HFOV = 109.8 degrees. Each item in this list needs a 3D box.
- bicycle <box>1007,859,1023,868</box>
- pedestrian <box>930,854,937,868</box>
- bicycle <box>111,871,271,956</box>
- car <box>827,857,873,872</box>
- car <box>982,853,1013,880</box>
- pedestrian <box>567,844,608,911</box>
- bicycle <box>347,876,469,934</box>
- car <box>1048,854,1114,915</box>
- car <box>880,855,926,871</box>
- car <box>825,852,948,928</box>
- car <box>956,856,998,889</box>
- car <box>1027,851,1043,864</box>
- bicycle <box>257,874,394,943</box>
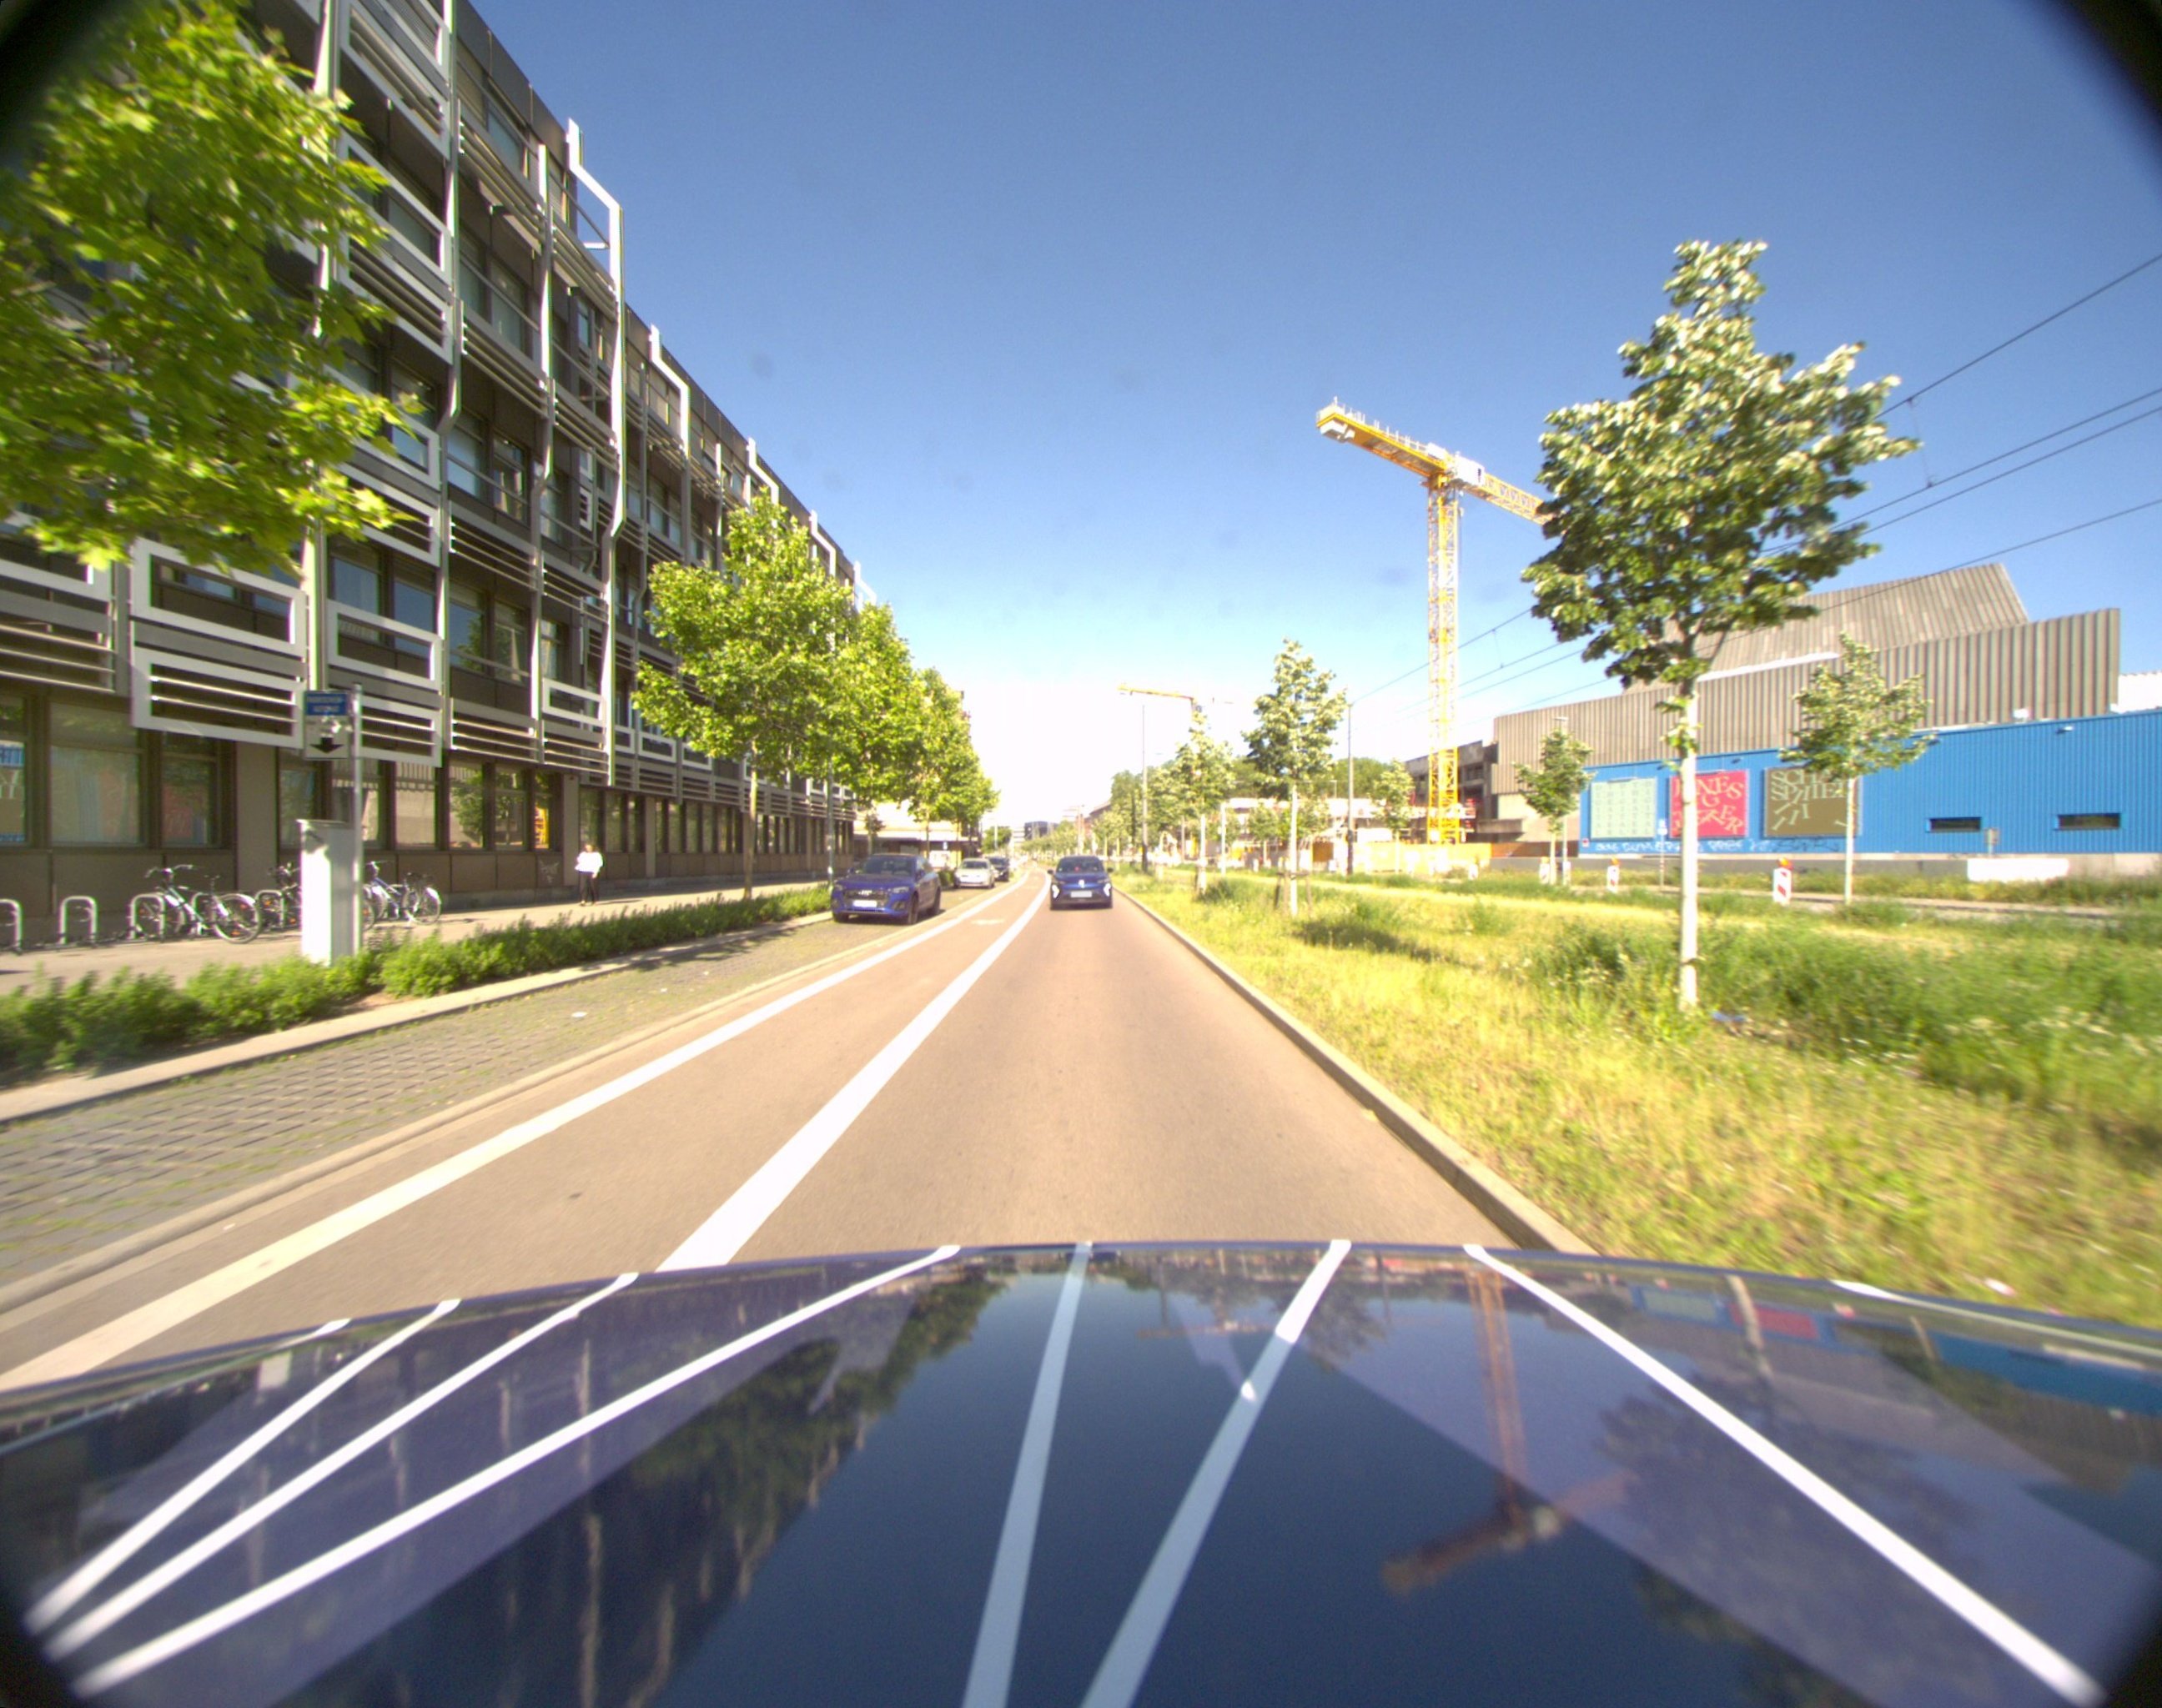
[{"bbox_3d":[-8.318,1.192,95.856,2.055,1.113,0.602,2,1,-6],"label":"bicycle"},{"bbox_3d":[-14.843,0.676,76.385,0.683,1.442,0.543,0,1,-11],"label":"pedestrian"},{"bbox_3d":[-12.510,0.827,10.691,1.862,1.091,0.427,2,1,4],"label":"bicycle"},{"bbox_3d":[-22.469,0.995,74.114,4.194,1.386,1.556,0,-1,-14],"label":"car"},{"bbox_3d":[-5.355,0.767,49.305,1.752,1.649,4.468,0,0,-4],"label":"car"},{"bbox_3d":[-12.300,0.581,18.942,0.512,1.613,0.674,2,1,2],"label":"pedestrian"},{"bbox_3d":[-11.954,0.902,13.511,1.862,0.933,0.427,2,1,4],"label":"bicycle"},{"bbox_3d":[0.042,0.865,23.320,1.749,1.613,4.153,-3,0,1],"label":"car"},{"bbox_3d":[-17.555,0.876,75.105,4.410,1.535,1.851,0,0,-13],"label":"car"},{"bbox_3d":[-4.758,0.803,19.366,1.854,1.647,4.848,1,0,0],"label":"car"},{"bbox_3d":[-5.072,0.864,37.501,1.622,1.456,4.154,1,0,-2],"label":"car"},{"bbox_3d":[-6.856,0.498,113.540,1.822,1.783,4.000,-2,1,3],"label":"car"},{"bbox_3d":[-12.081,0.865,12.161,1.862,1.005,0.427,2,1,4],"label":"bicycle"}]
